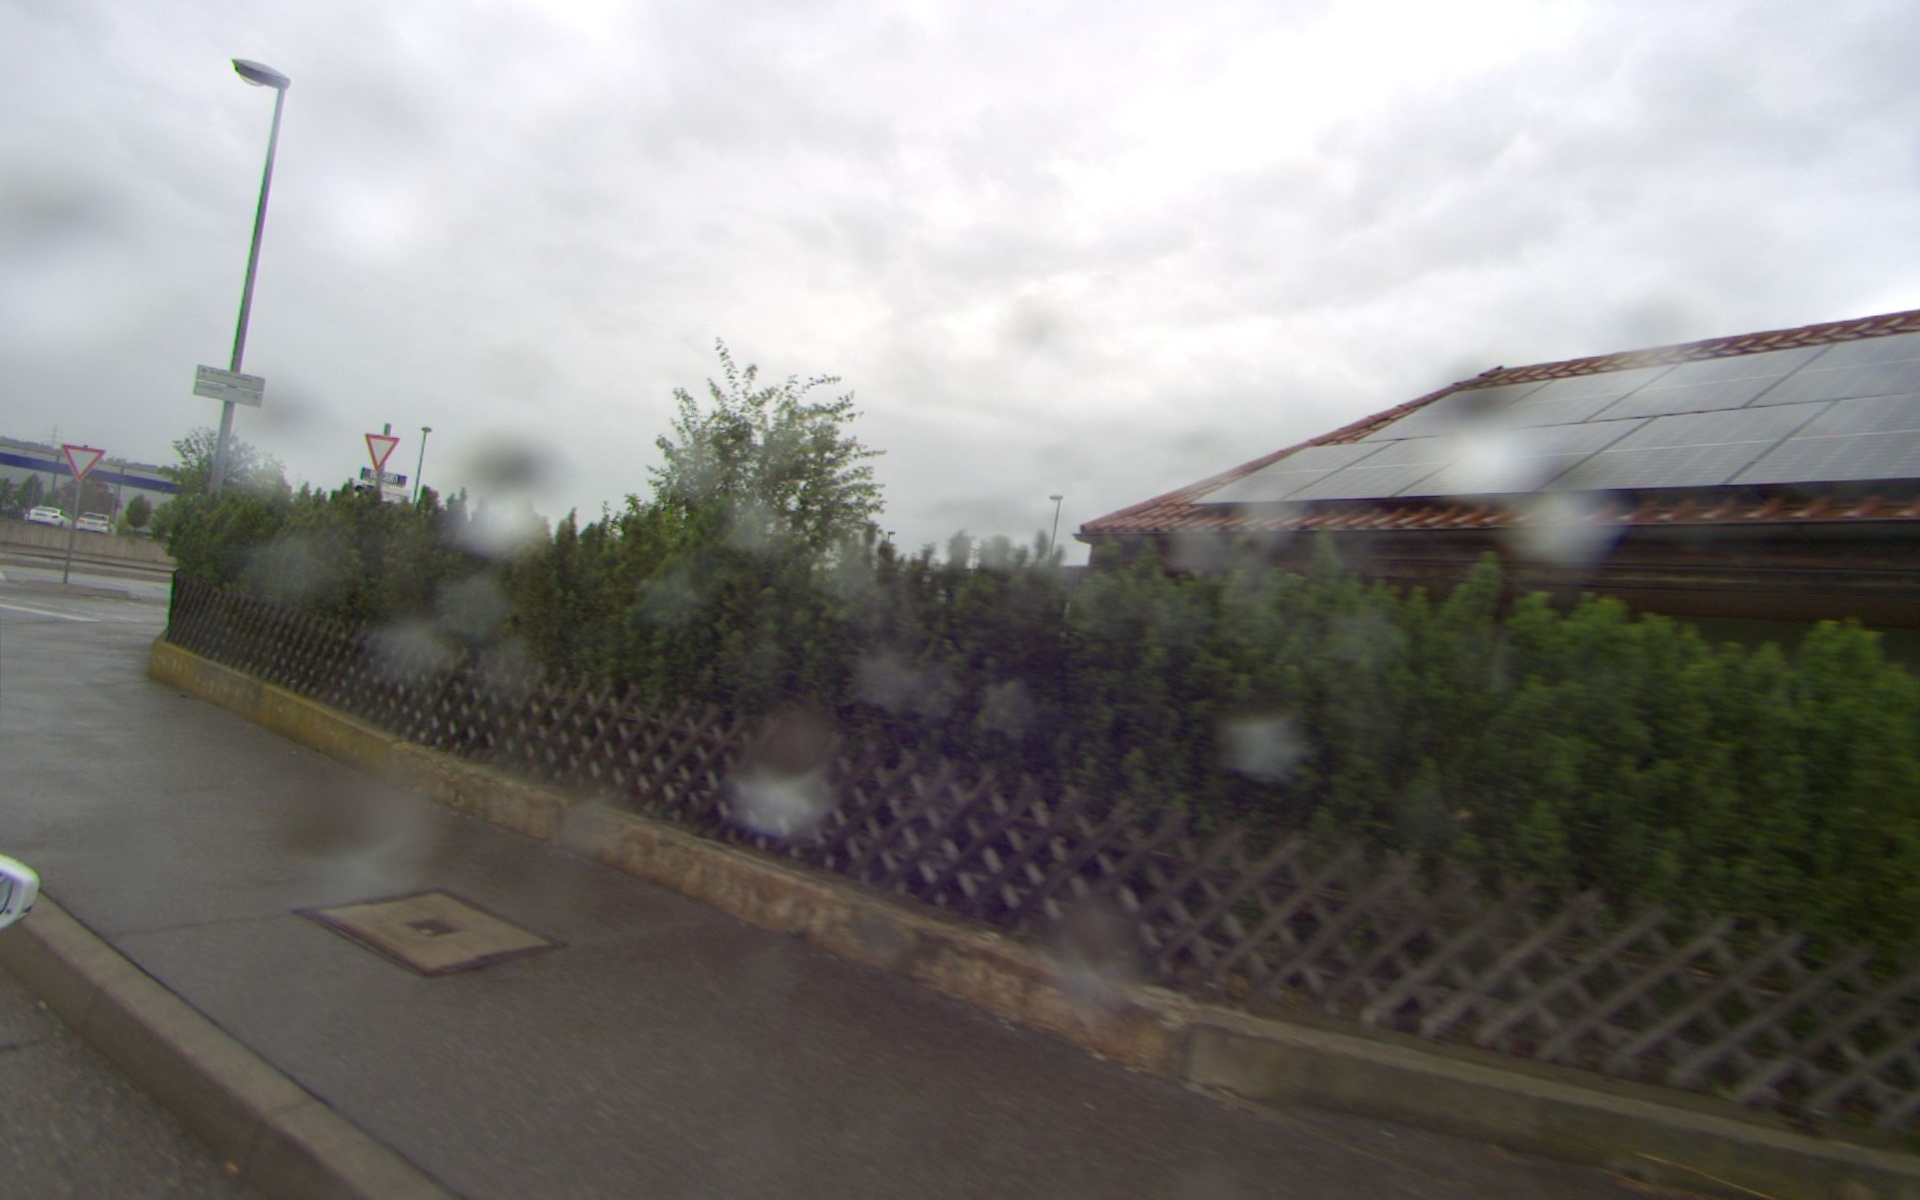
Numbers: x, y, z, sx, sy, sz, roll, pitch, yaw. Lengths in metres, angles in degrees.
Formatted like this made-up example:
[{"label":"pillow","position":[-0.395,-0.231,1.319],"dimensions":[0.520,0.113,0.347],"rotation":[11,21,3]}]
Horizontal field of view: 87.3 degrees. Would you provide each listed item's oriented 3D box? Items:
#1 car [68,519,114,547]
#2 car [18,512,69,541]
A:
[{"label":"car","position":[-59.240,-4.536,68.613],"dimensions":[1.985,1.494,3.960],"rotation":[10,-3,-37]},{"label":"car","position":[-60.984,-4.862,66.972],"dimensions":[1.985,1.494,3.961],"rotation":[9,-3,-37]}]
